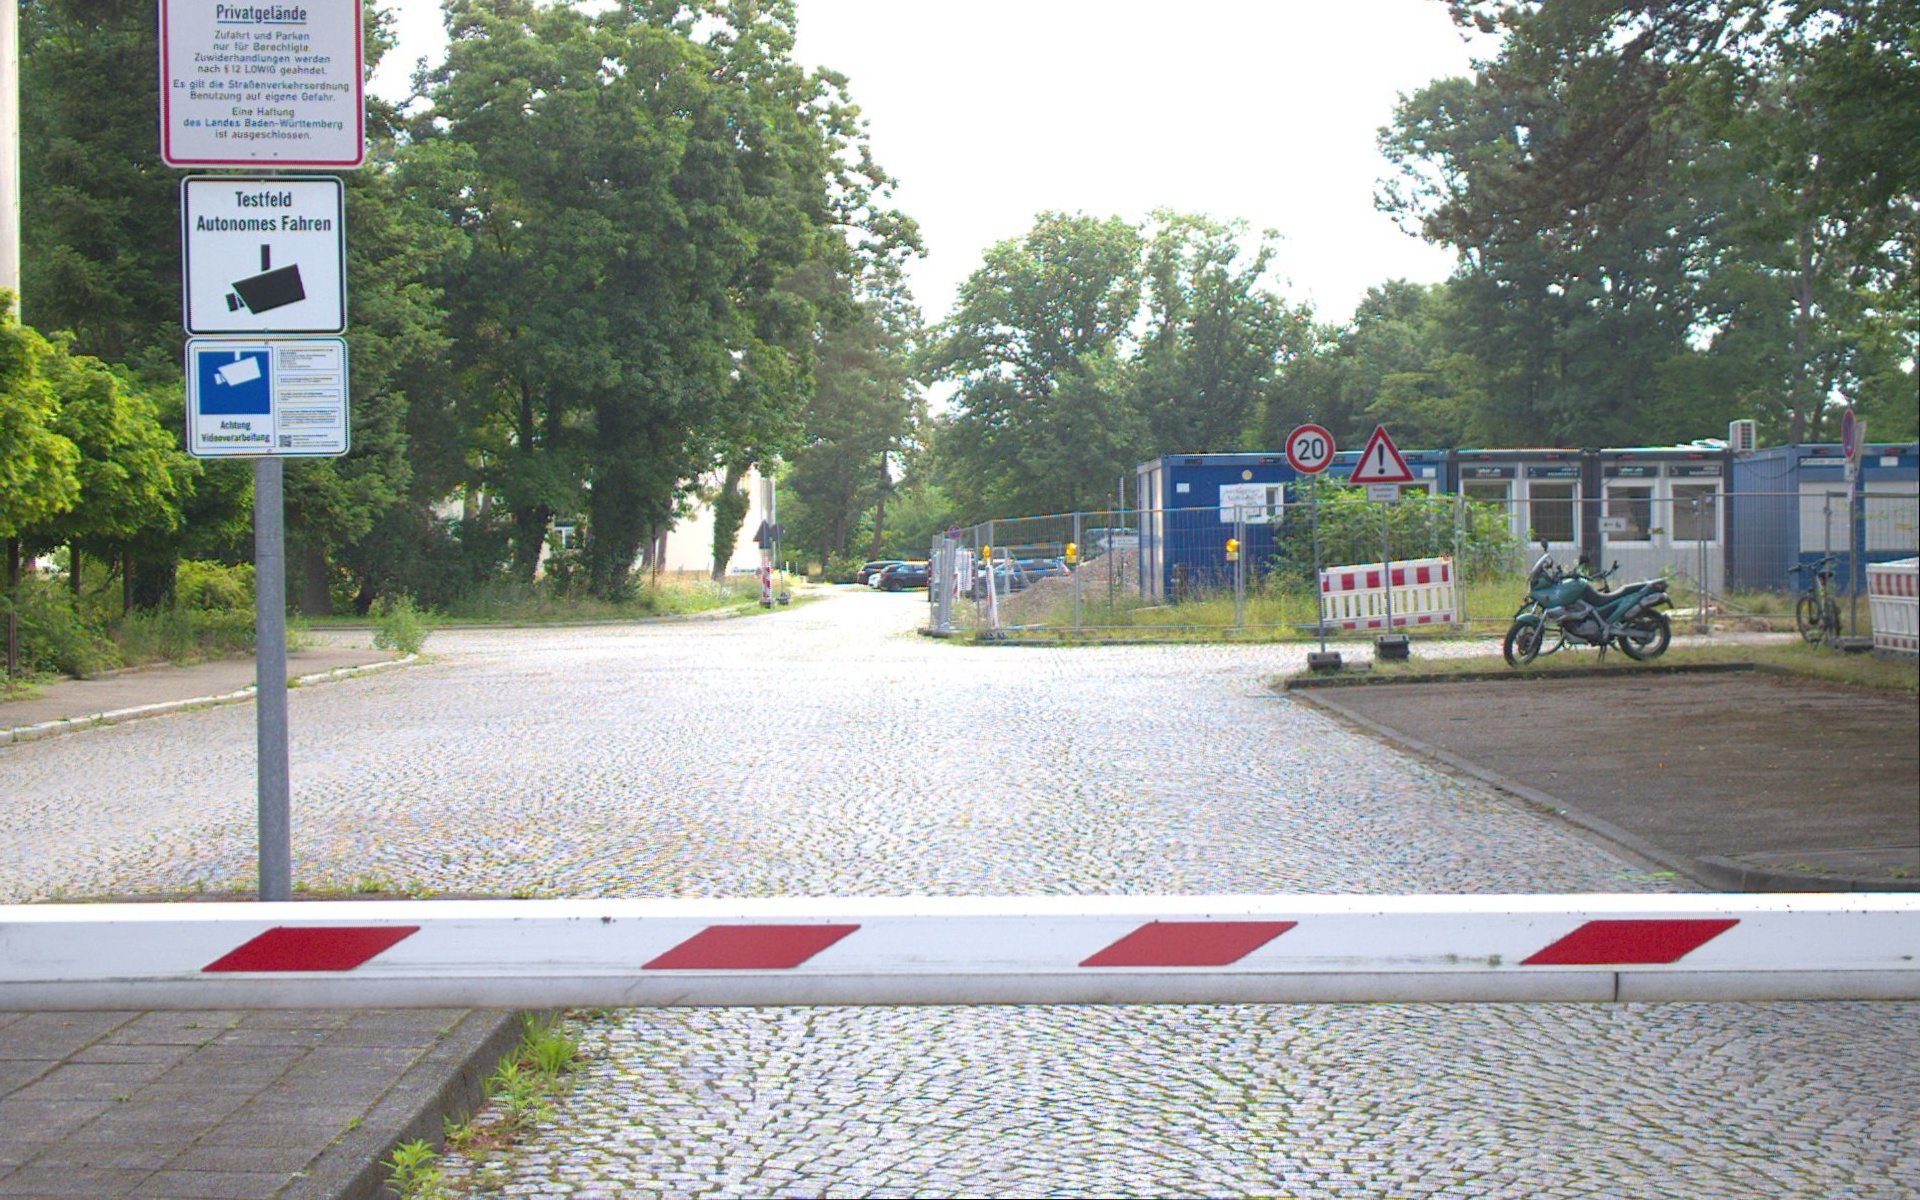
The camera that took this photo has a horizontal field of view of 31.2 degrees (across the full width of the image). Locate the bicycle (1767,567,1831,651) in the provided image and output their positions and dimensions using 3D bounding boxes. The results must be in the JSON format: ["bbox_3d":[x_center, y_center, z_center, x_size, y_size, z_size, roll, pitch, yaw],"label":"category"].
[{"bbox_3d":[10.387,0.126,42.608,0.332,1.004,1.726,-1,-1,-1],"label":"bicycle"}]

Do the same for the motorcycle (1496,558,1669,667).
[{"bbox_3d":[7.434,0.149,41.055,1.956,1.191,0.461,-2,5,-1],"label":"motorcycle"}]
